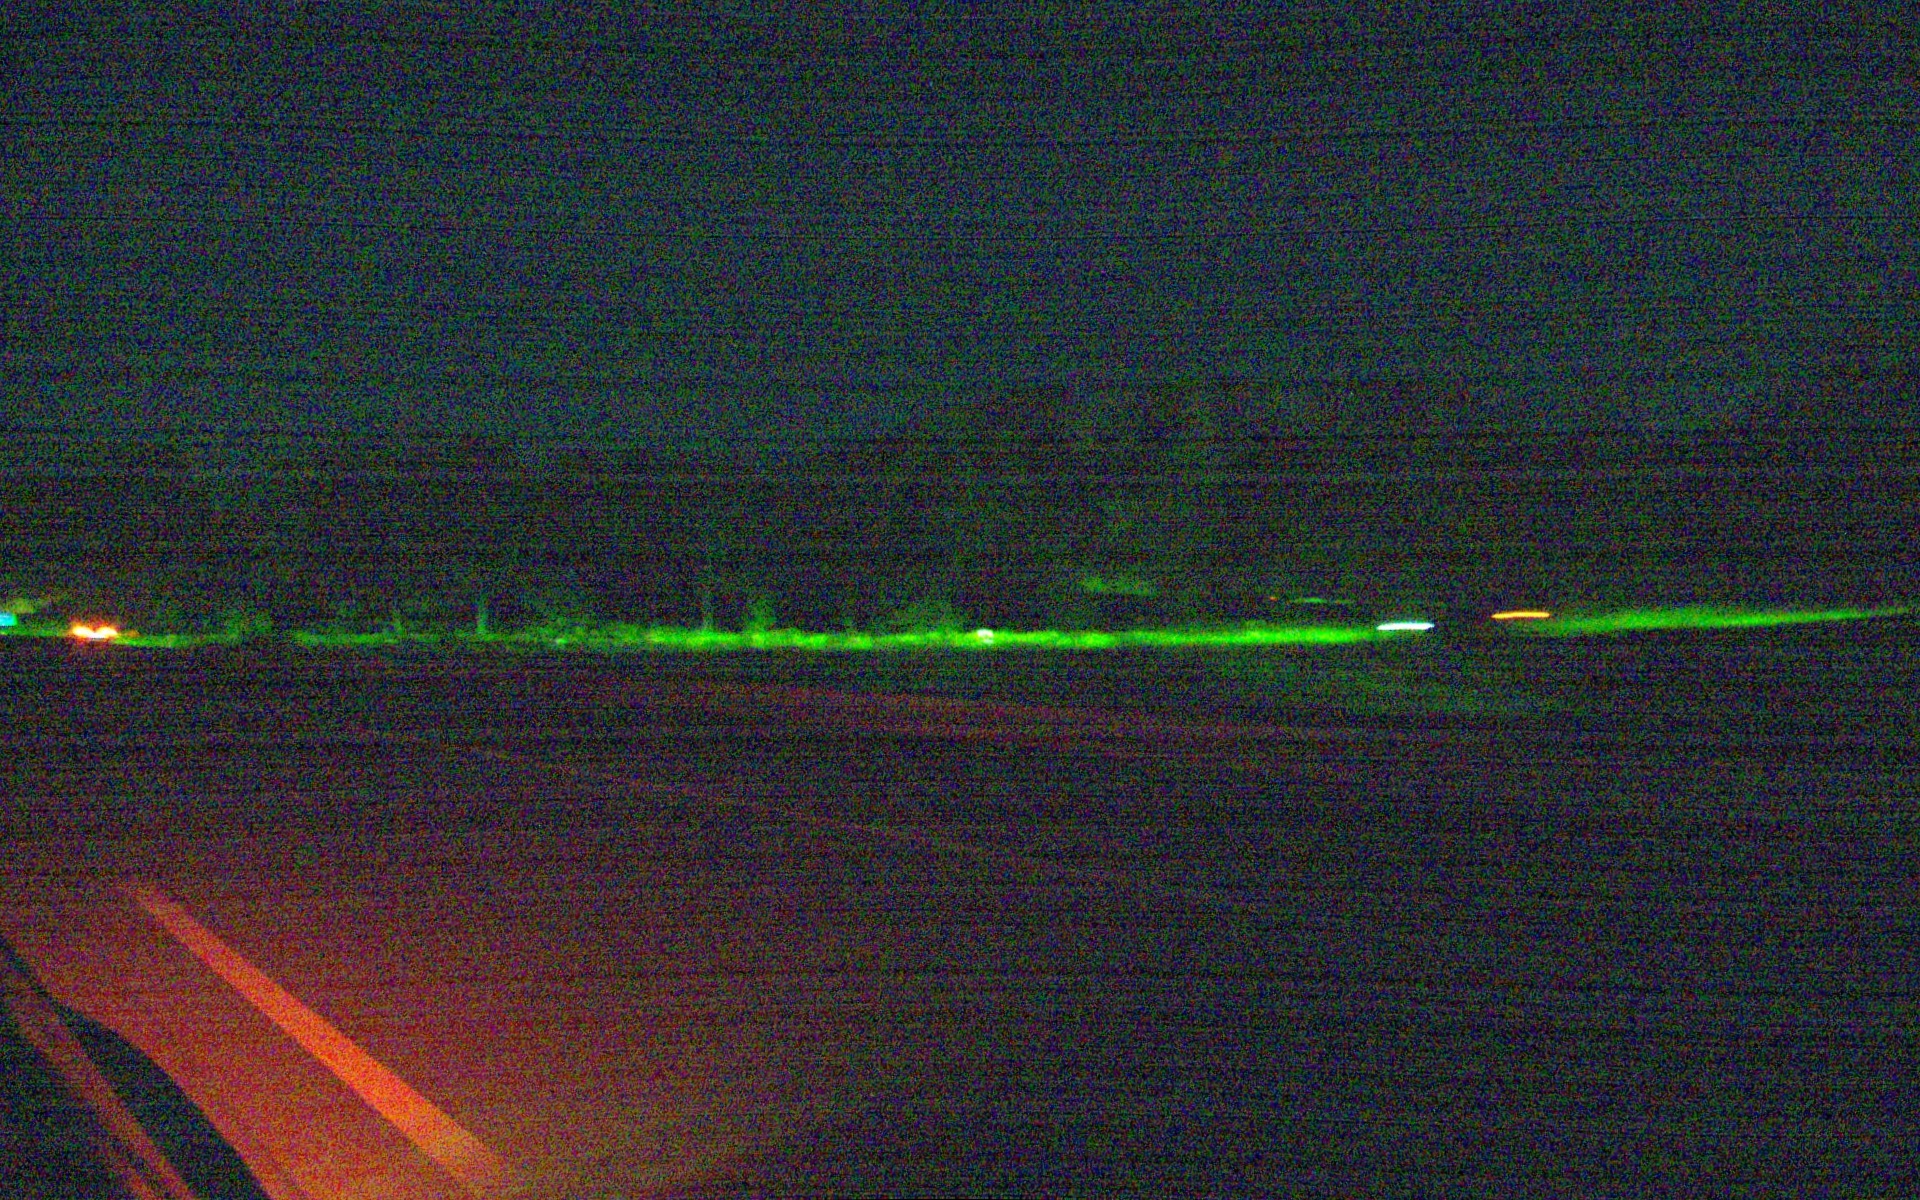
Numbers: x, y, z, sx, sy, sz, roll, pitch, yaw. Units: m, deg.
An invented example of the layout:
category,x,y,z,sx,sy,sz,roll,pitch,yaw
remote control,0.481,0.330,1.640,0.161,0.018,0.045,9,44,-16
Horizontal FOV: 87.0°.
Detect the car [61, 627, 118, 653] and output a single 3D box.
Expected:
category,x,y,z,sx,sy,sz,roll,pitch,yaw
car,-54.957,2.525,63.884,4.290,1.569,1.974,-1,-2,39
